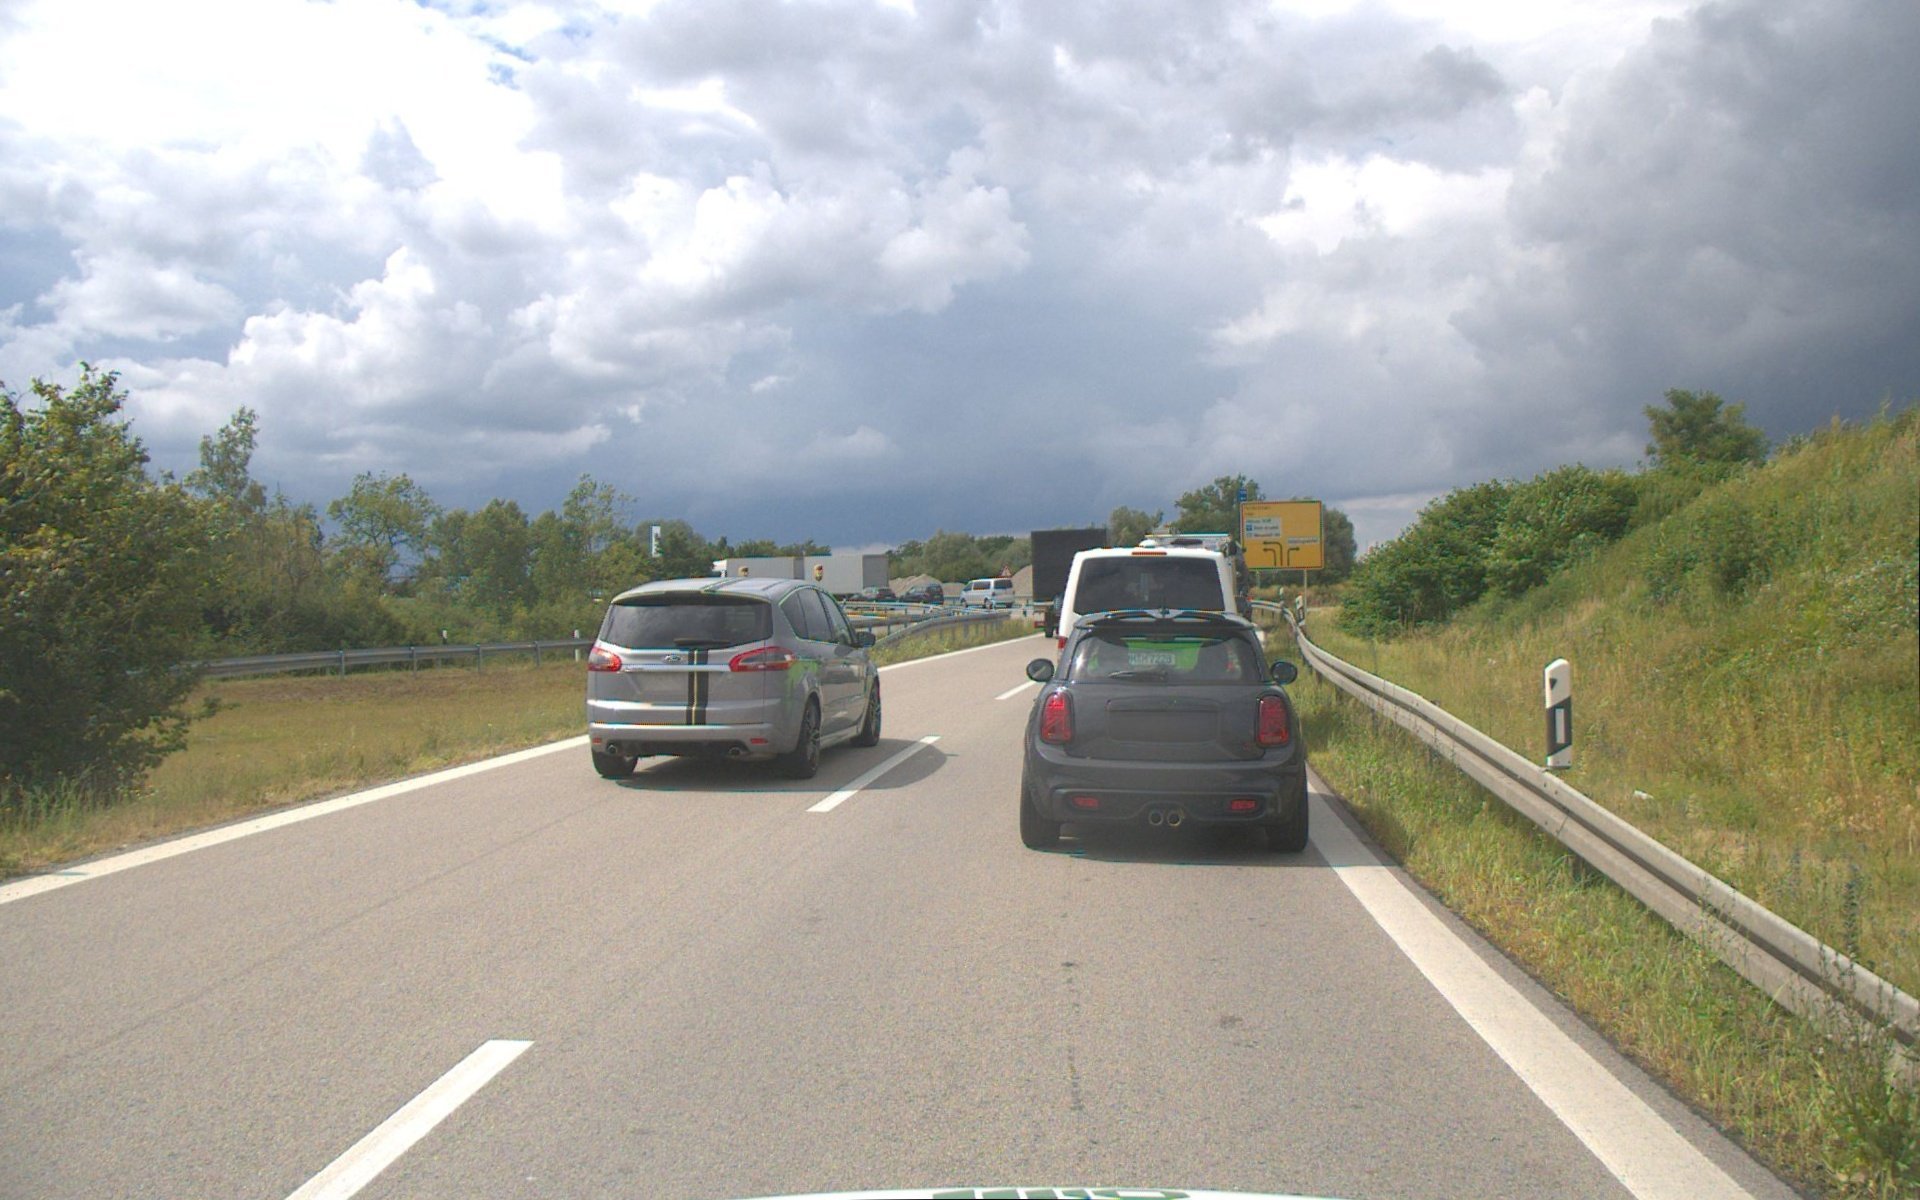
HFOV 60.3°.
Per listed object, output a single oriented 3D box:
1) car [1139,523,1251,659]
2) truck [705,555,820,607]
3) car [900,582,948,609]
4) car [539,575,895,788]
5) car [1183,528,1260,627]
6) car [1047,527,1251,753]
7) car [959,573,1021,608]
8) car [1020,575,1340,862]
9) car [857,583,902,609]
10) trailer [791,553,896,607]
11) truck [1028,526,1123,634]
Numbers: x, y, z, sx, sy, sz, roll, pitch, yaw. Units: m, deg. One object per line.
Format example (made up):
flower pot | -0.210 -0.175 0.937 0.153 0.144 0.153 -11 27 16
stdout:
car | 5.062 -0.149 35.538 2.164 2.668 5.538 1 -1 8
truck | -15.917 -1.507 132.653 9.831 4.046 2.834 0 -1 37
car | -2.656 -0.312 120.850 1.898 1.870 4.279 1 -1 -27
car | -1.960 0.653 14.906 1.978 1.605 4.590 -1 -1 7
car | 8.917 -0.664 55.919 2.261 3.122 6.667 1 -1 11
car | 2.037 0.379 17.438 1.870 2.081 4.184 0 0 8
car | 2.037 -0.597 113.336 2.260 2.300 5.067 1 -1 -25
car | 1.385 0.654 11.091 1.761 1.573 3.740 1 0 5
car | -5.801 -0.298 118.815 1.791 1.786 3.965 1 -1 -27
trailer | -8.988 -1.477 126.664 8.626 3.966 3.024 0 -1 45
truck | 3.847 -0.555 53.774 2.505 3.223 7.473 1 -1 8
